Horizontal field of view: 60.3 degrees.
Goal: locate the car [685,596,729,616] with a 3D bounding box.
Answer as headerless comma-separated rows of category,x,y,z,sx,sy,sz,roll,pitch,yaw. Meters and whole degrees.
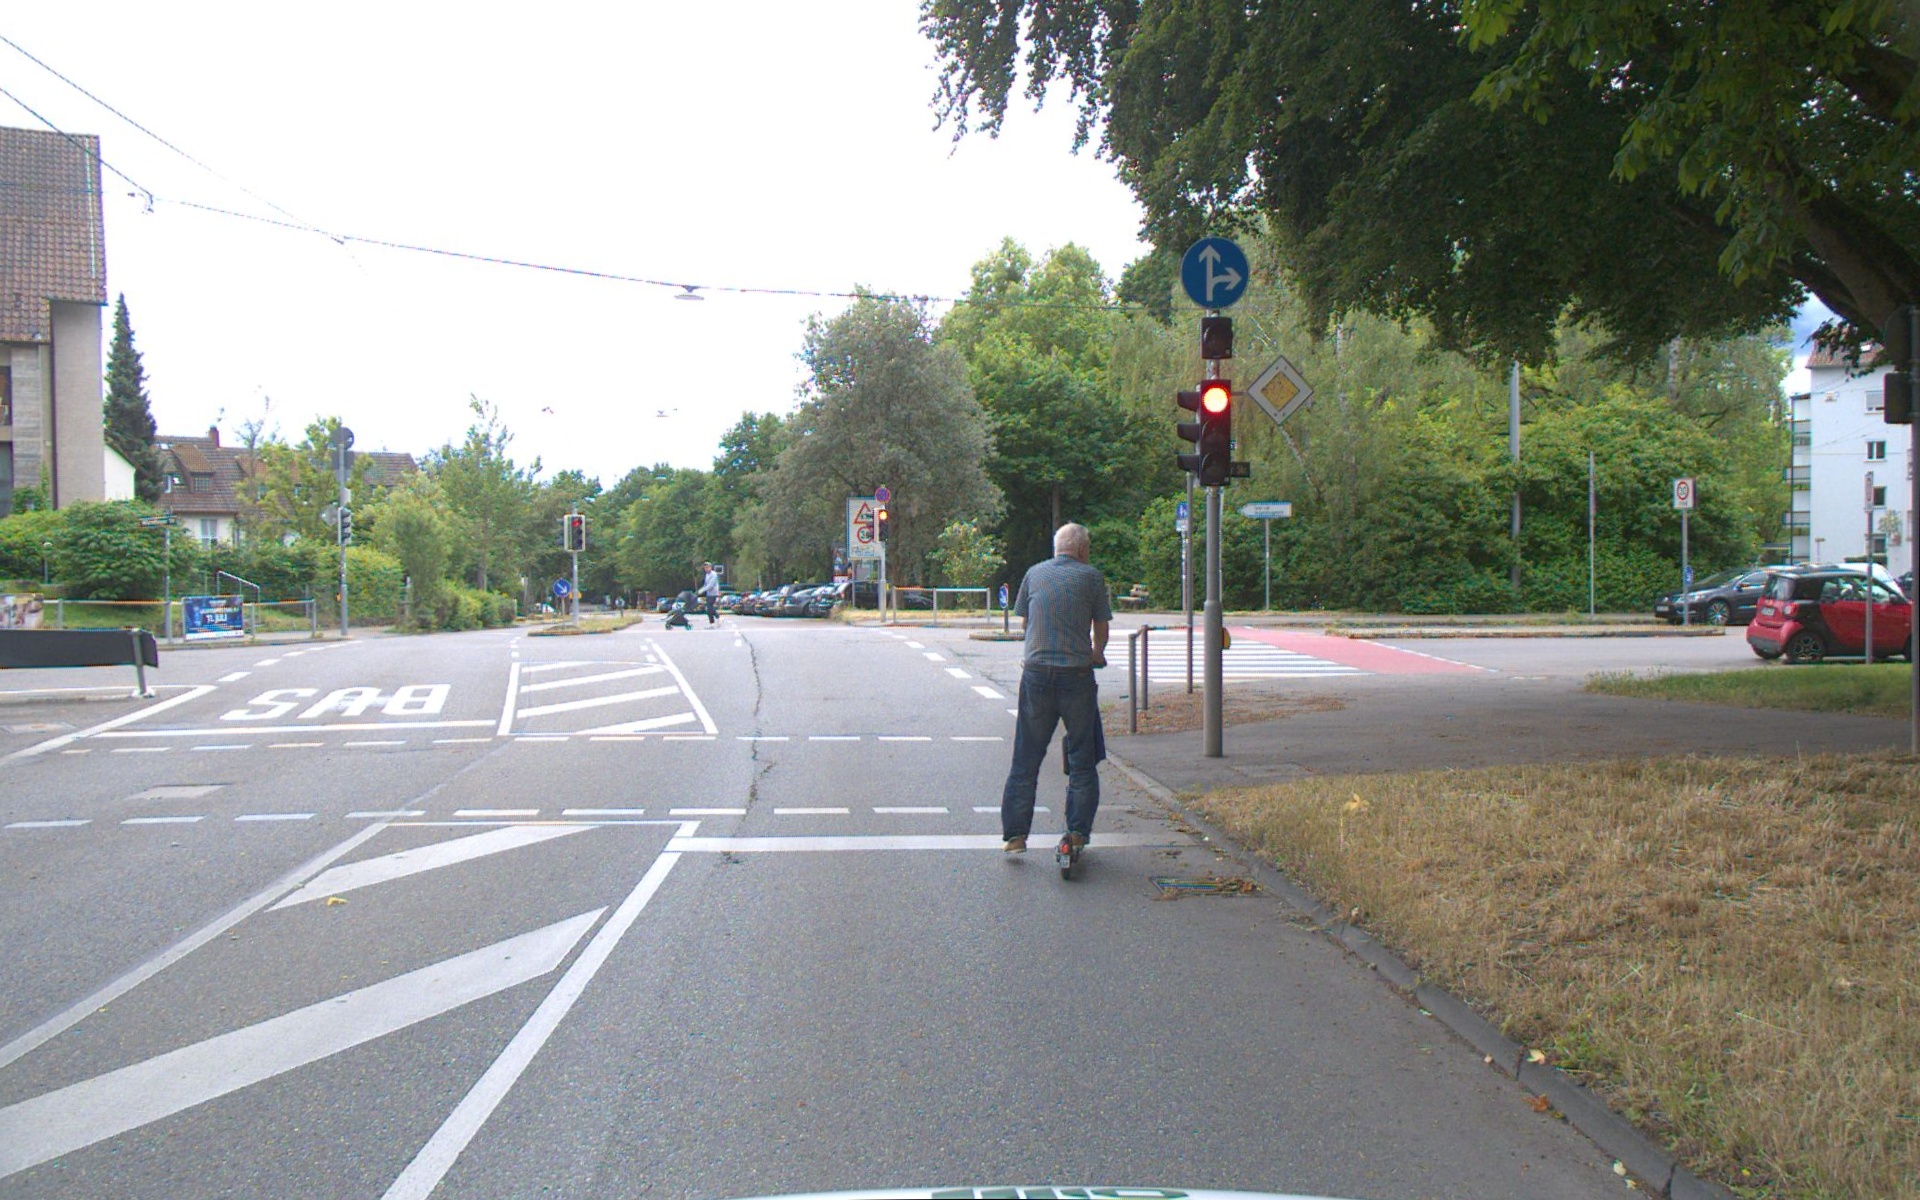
car,-23.754,0.559,155.256,3.791,1.639,1.715,-2,1,-24

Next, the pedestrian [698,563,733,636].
pedestrian,-6.516,-0.019,44.113,0.868,1.895,0.573,-1,0,-10

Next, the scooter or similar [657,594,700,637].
scooter or similar,-7.485,0.415,43.946,1.087,1.100,0.576,-1,0,-9

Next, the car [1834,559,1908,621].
car,26.165,-0.313,47.586,1.689,1.639,3.850,-2,1,27

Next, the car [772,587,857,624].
car,-7.103,0.245,80.814,3.791,1.639,1.715,-2,1,-24

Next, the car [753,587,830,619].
car,-9.223,0.152,90.534,3.791,1.639,1.715,-2,1,-24

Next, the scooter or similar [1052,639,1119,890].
scooter or similar,0.678,0.829,8.776,0.276,1.199,1.178,-1,0,7

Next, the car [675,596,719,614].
car,-25.342,0.490,159.365,3.791,1.639,1.715,-2,1,-24

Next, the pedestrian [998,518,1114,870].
pedestrian,0.525,0.497,8.932,0.560,1.845,0.421,-1,0,7

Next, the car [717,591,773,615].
car,-15.996,0.195,123.233,3.791,1.639,1.715,-2,1,-24

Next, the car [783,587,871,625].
car,-6.299,0.253,78.288,3.793,1.639,1.715,-2,1,-25

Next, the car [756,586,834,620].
car,-8.774,0.157,88.131,3.791,1.639,1.715,-2,1,-24

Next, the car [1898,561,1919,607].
car,35.542,-0.618,60.249,1.686,1.639,3.856,-2,1,19

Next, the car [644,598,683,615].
car,-31.707,0.658,176.663,3.791,1.639,1.715,-2,1,-24

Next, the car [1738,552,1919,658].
car,15.102,0.054,27.554,3.444,1.639,1.729,-2,1,4

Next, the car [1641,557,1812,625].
car,18.942,-0.230,40.973,3.444,1.557,1.729,-2,1,5

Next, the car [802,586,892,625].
car,-5.205,0.249,76.339,3.788,1.639,1.717,-2,1,-22
